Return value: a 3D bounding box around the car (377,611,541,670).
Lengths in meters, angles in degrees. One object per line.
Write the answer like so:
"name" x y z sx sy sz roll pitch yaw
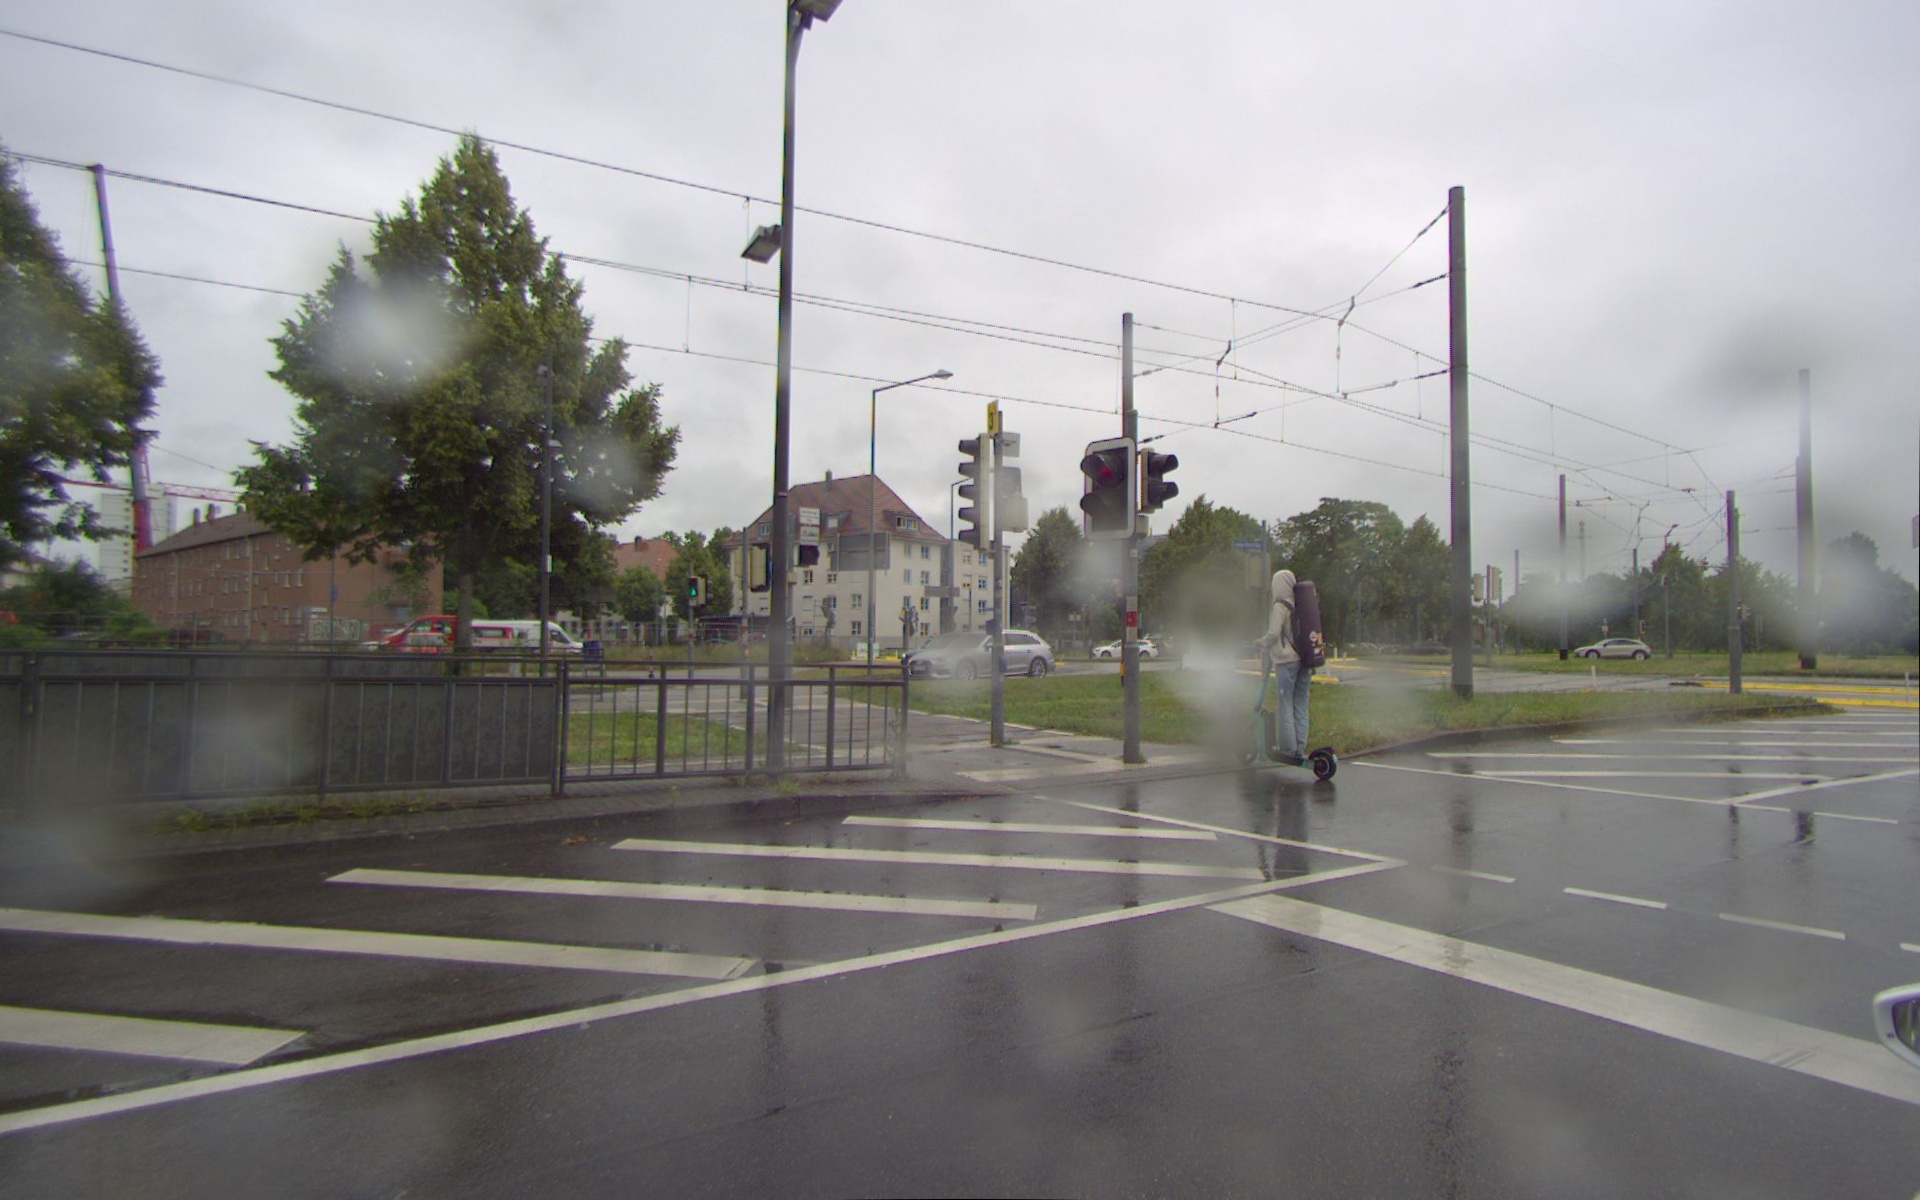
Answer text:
"car" -22.267 1.808 44.962 6.389 2.502 1.616 1 -2 -20

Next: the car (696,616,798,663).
"car" -18.933 3.414 88.573 10.793 3.770 2.447 0 -2 39

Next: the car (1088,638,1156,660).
"car" 11.303 3.444 70.192 4.530 1.473 1.624 0 -2 3

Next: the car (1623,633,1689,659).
"car" 53.977 3.551 77.984 3.921 1.840 1.681 2 0 -1

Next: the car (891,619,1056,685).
"car" 0.426 1.378 27.381 4.371 1.649 1.975 2 -2 -42

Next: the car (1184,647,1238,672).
"car" 18.009 4.256 72.171 3.416 1.563 1.622 2 0 -3

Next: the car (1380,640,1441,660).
"car" 33.720 3.737 75.242 3.915 1.473 1.621 1 -2 -10

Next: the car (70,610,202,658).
"car" -45.483 1.905 55.655 5.441 2.485 1.980 3 0 -36

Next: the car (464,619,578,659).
"car" -25.958 2.339 59.607 6.004 2.308 1.617 1 -2 -18

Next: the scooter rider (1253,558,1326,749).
"scooter rider" 3.109 0.501 9.484 0.525 1.731 0.432 -2 -3 42

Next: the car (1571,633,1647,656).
"car" 43.601 2.992 67.546 4.031 1.473 1.624 0 -2 19

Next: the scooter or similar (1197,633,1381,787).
"scooter or similar" 3.076 0.991 9.488 1.568 1.276 0.445 2 0 43
